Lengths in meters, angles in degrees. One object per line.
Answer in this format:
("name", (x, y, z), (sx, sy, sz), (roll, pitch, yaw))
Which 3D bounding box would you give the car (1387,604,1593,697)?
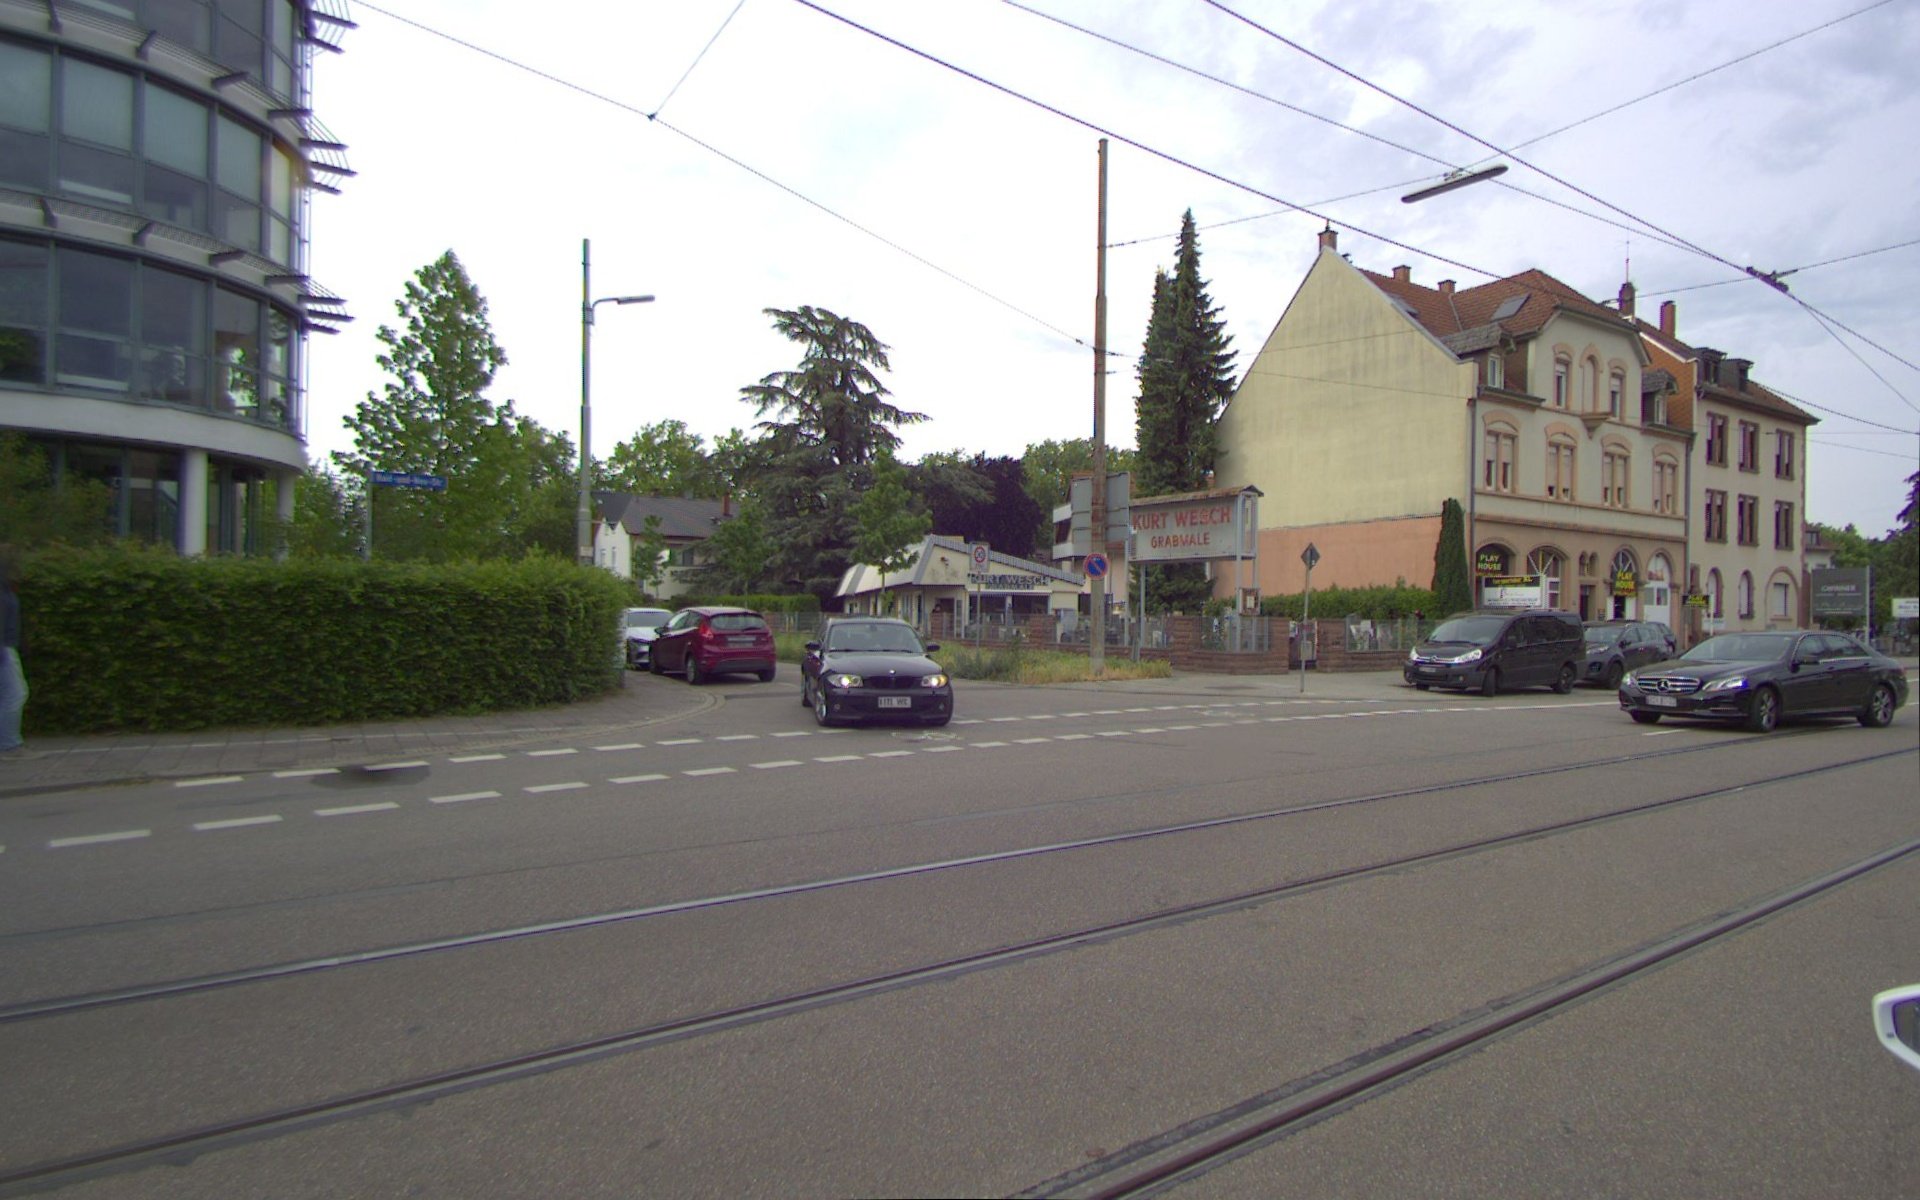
("car", (12.361, 1.147, 23.334), (4.942, 1.912, 1.981), (2, 0, -32))

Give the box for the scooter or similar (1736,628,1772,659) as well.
("scooter or similar", (32.116, 1.741, 40.634), (1.032, 1.204, 0.318), (2, 0, 25))

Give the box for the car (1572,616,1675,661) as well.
("car", (24.135, 1.409, 36.519), (3.706, 1.520, 1.743), (2, 0, -33))

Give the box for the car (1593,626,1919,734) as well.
("car", (12.351, 1.151, 15.514), (4.815, 1.446, 1.943), (1, -1, -22))

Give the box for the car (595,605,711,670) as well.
("car", (-7.486, 0.880, 24.283), (1.811, 1.439, 3.968), (2, -2, -30))

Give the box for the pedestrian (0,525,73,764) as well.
("pedestrian", (-8.553, 0.371, 8.796), (0.978, 2.040, 0.707), (2, 0, -28))

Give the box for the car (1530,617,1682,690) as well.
("car", (17.214, 1.404, 26.723), (4.148, 1.740, 1.834), (2, 0, -33))

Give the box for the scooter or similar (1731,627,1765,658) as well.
("scooter or similar", (32.266, 1.748, 41.132), (1.032, 1.204, 0.318), (2, 0, 25))

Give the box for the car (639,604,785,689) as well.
("car", (-5.087, 0.852, 20.315), (1.749, 1.437, 3.687), (-1, 2, -33))

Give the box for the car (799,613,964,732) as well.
("car", (-1.245, 0.907, 14.157), (1.771, 1.406, 3.923), (1, -1, -13))
